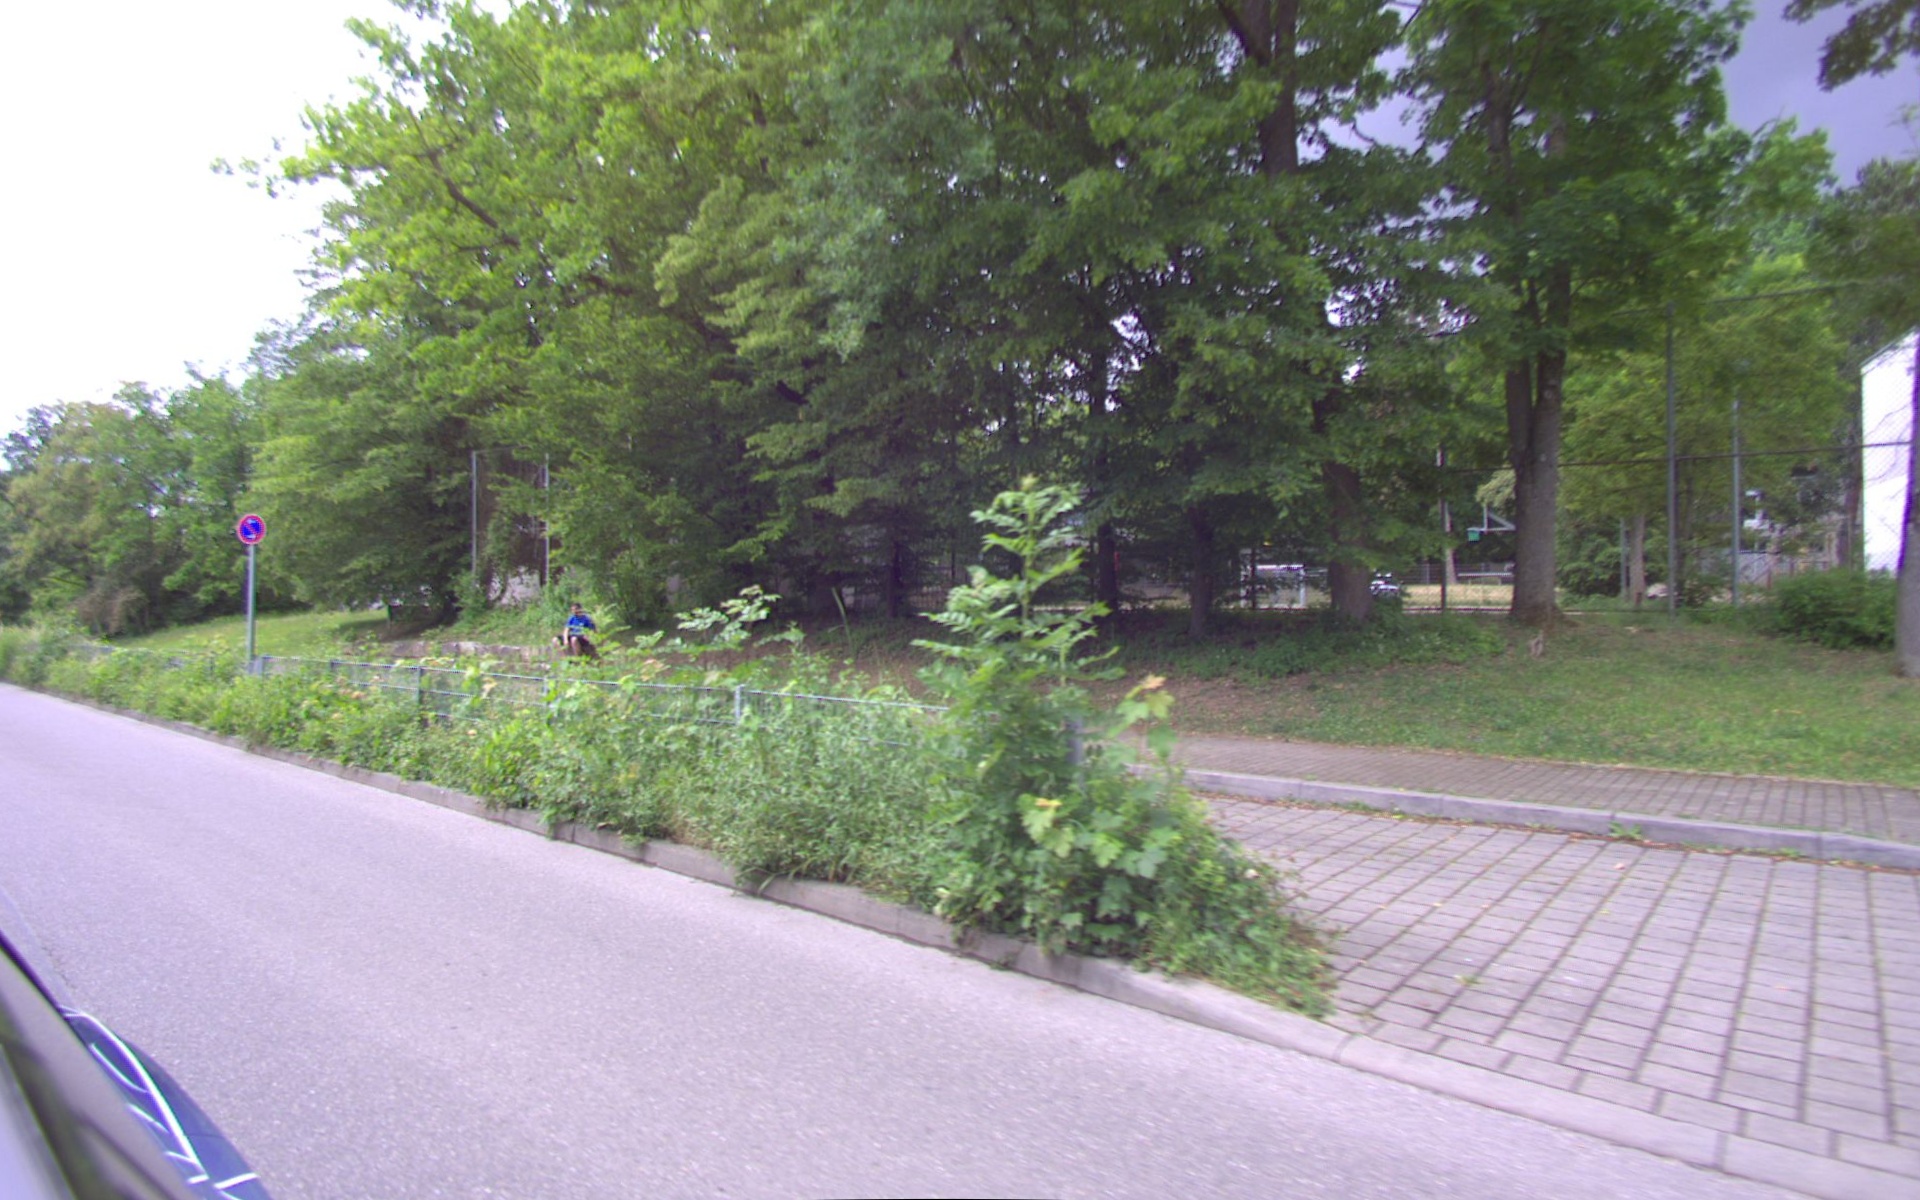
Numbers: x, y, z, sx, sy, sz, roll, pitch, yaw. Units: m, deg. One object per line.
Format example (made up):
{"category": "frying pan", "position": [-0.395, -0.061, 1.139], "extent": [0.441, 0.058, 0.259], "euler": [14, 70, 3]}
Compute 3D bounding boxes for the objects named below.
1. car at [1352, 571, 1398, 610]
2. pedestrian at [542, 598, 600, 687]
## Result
{"category": "car", "position": [20.375, -0.425, 49.692], "extent": [1.962, 1.707, 4.414], "euler": [-1, -2, 23]}
{"category": "pedestrian", "position": [-7.570, 0.814, 19.684], "extent": [0.808, 1.675, 0.752], "euler": [-2, -2, 39]}
